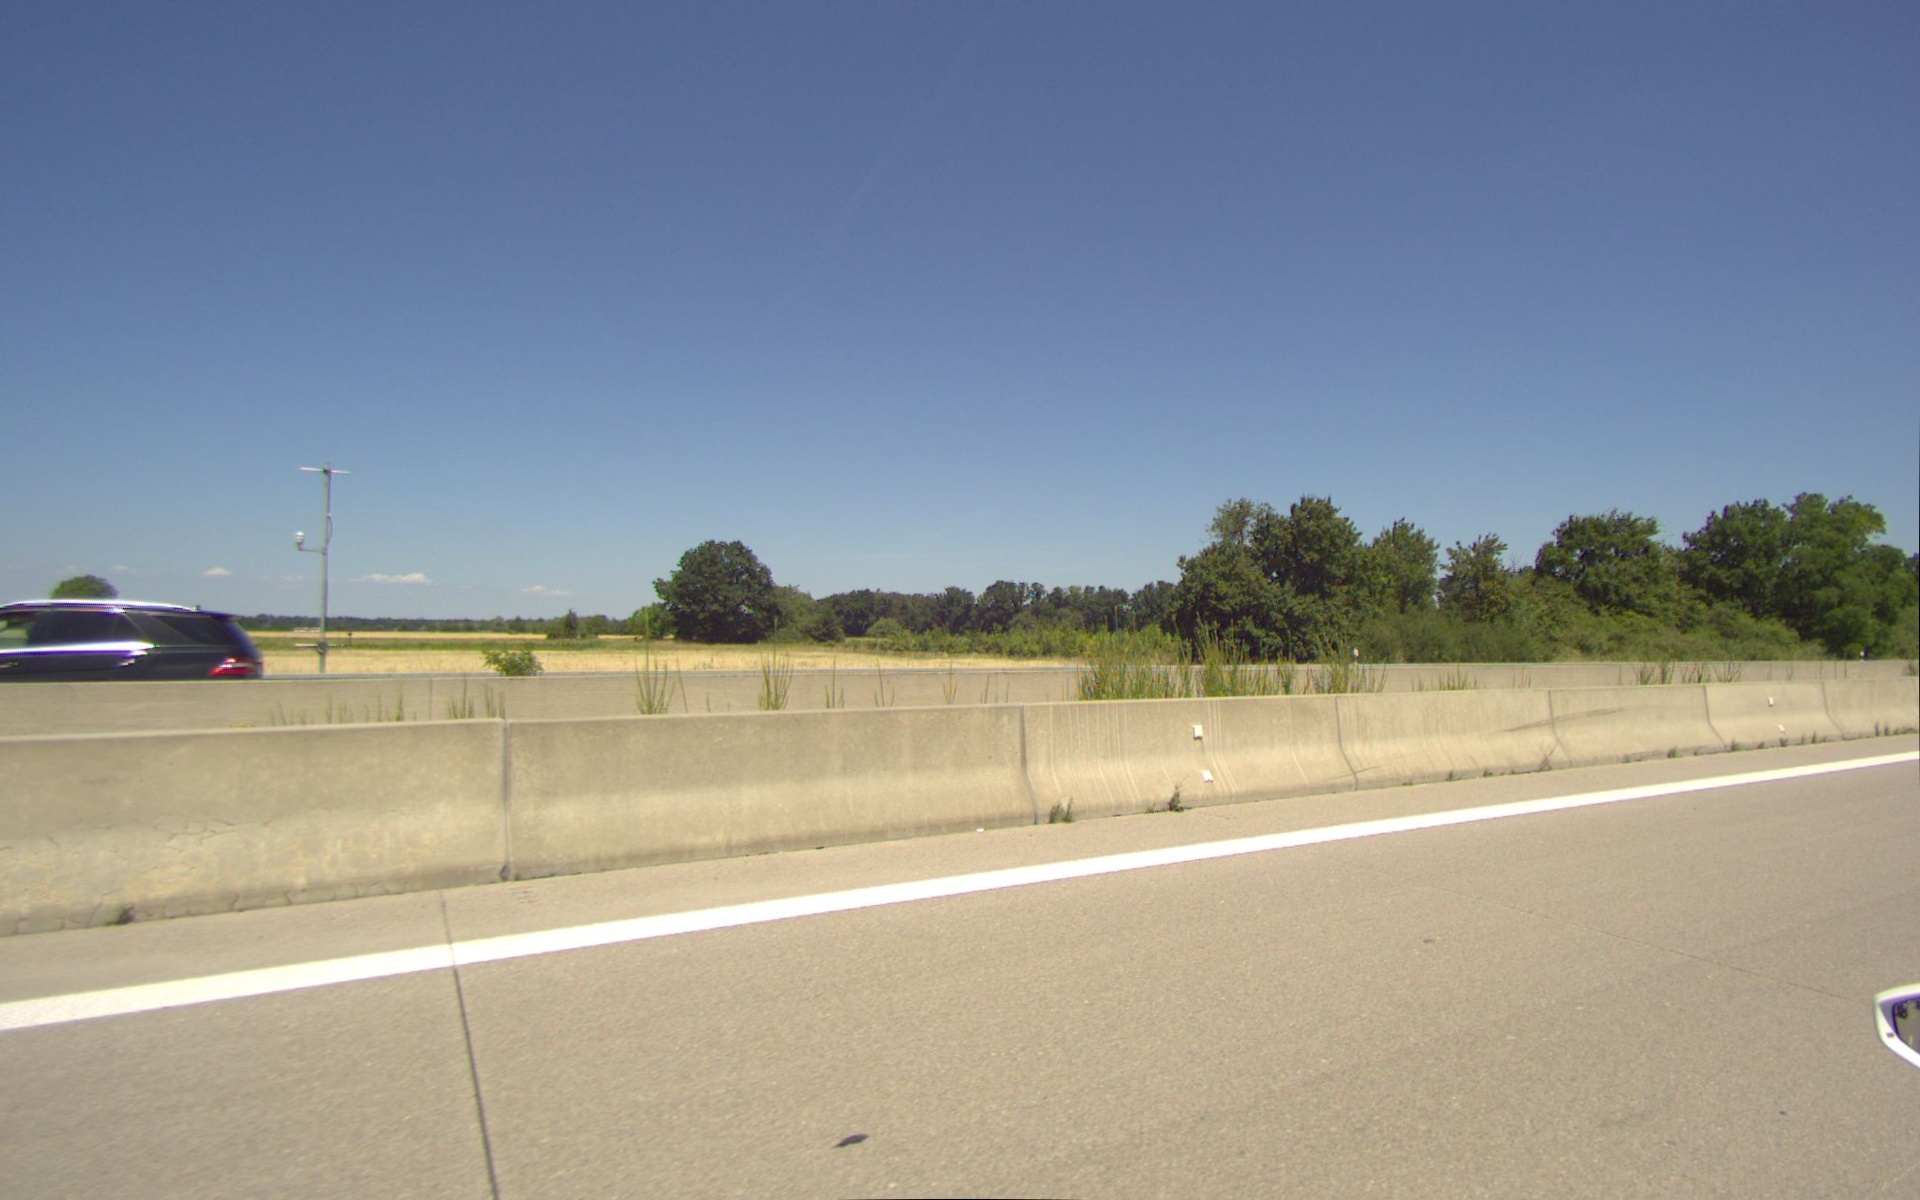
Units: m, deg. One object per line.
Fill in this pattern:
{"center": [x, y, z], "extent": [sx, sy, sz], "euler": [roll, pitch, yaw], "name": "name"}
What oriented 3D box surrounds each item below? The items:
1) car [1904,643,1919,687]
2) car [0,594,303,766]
{"center": [44.549, 2.925, 45.035], "extent": [4.637, 1.907, 1.984], "euler": [1, 0, -30], "name": "car"}
{"center": [-10.734, 0.878, 11.986], "extent": [4.764, 1.862, 1.982], "euler": [1, 0, -33], "name": "car"}
